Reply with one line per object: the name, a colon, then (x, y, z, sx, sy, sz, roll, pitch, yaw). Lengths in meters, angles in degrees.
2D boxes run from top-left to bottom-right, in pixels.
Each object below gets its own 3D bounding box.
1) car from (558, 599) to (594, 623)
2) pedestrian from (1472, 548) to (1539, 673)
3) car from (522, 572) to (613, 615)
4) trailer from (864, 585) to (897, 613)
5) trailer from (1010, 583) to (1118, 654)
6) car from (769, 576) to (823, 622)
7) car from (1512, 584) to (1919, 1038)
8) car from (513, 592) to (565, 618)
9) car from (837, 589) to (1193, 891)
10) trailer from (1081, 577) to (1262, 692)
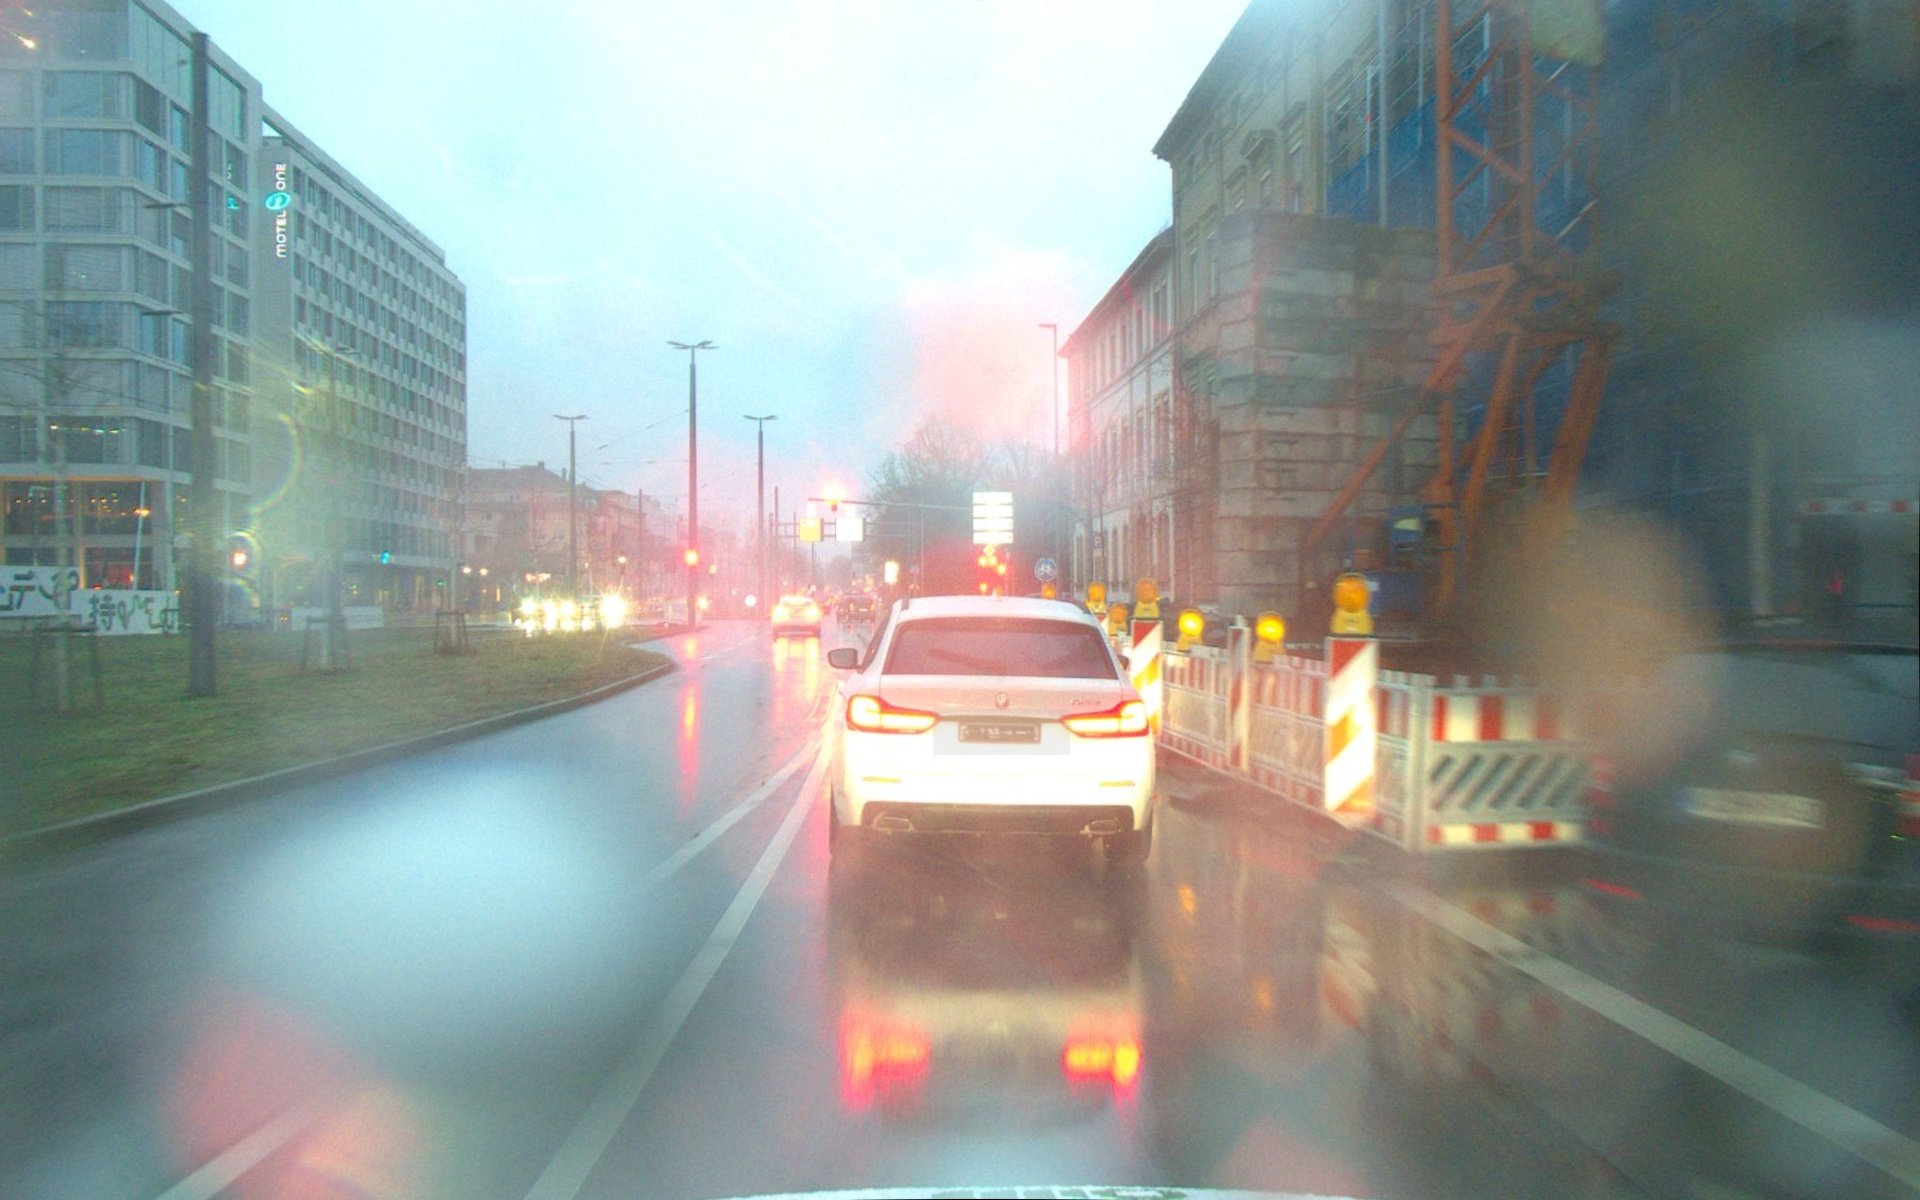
car: (-28.222, 0.779, 121.657, 1.820, 1.668, 4.030, 0, 1, -3)
pedestrian: (7.846, 0.142, 23.821, 0.629, 1.740, 0.726, -3, 1, -4)
car: (-18.616, -0.327, 78.430, 3.932, 2.009, 1.986, 0, 1, -23)
trailer: (-4.898, -0.054, 101.805, 1.799, 1.672, 3.995, 0, 1, -6)
trailer: (2.132, 0.353, 34.850, 1.814, 1.369, 3.526, -1, 1, -4)
car: (-6.138, -0.070, 62.199, 1.863, 1.670, 3.997, 0, 1, -4)
car: (4.473, 0.709, 7.496, 4.054, 1.544, 1.881, -1, 1, -39)
car: (-24.909, 0.287, 97.792, 1.727, 1.518, 3.494, -1, 1, -38)
car: (0.106, 0.691, 10.913, 1.815, 1.491, 4.942, 0, 1, -4)
trailer: (3.065, 0.440, 24.951, 1.799, 1.516, 4.844, -1, 1, -4)
